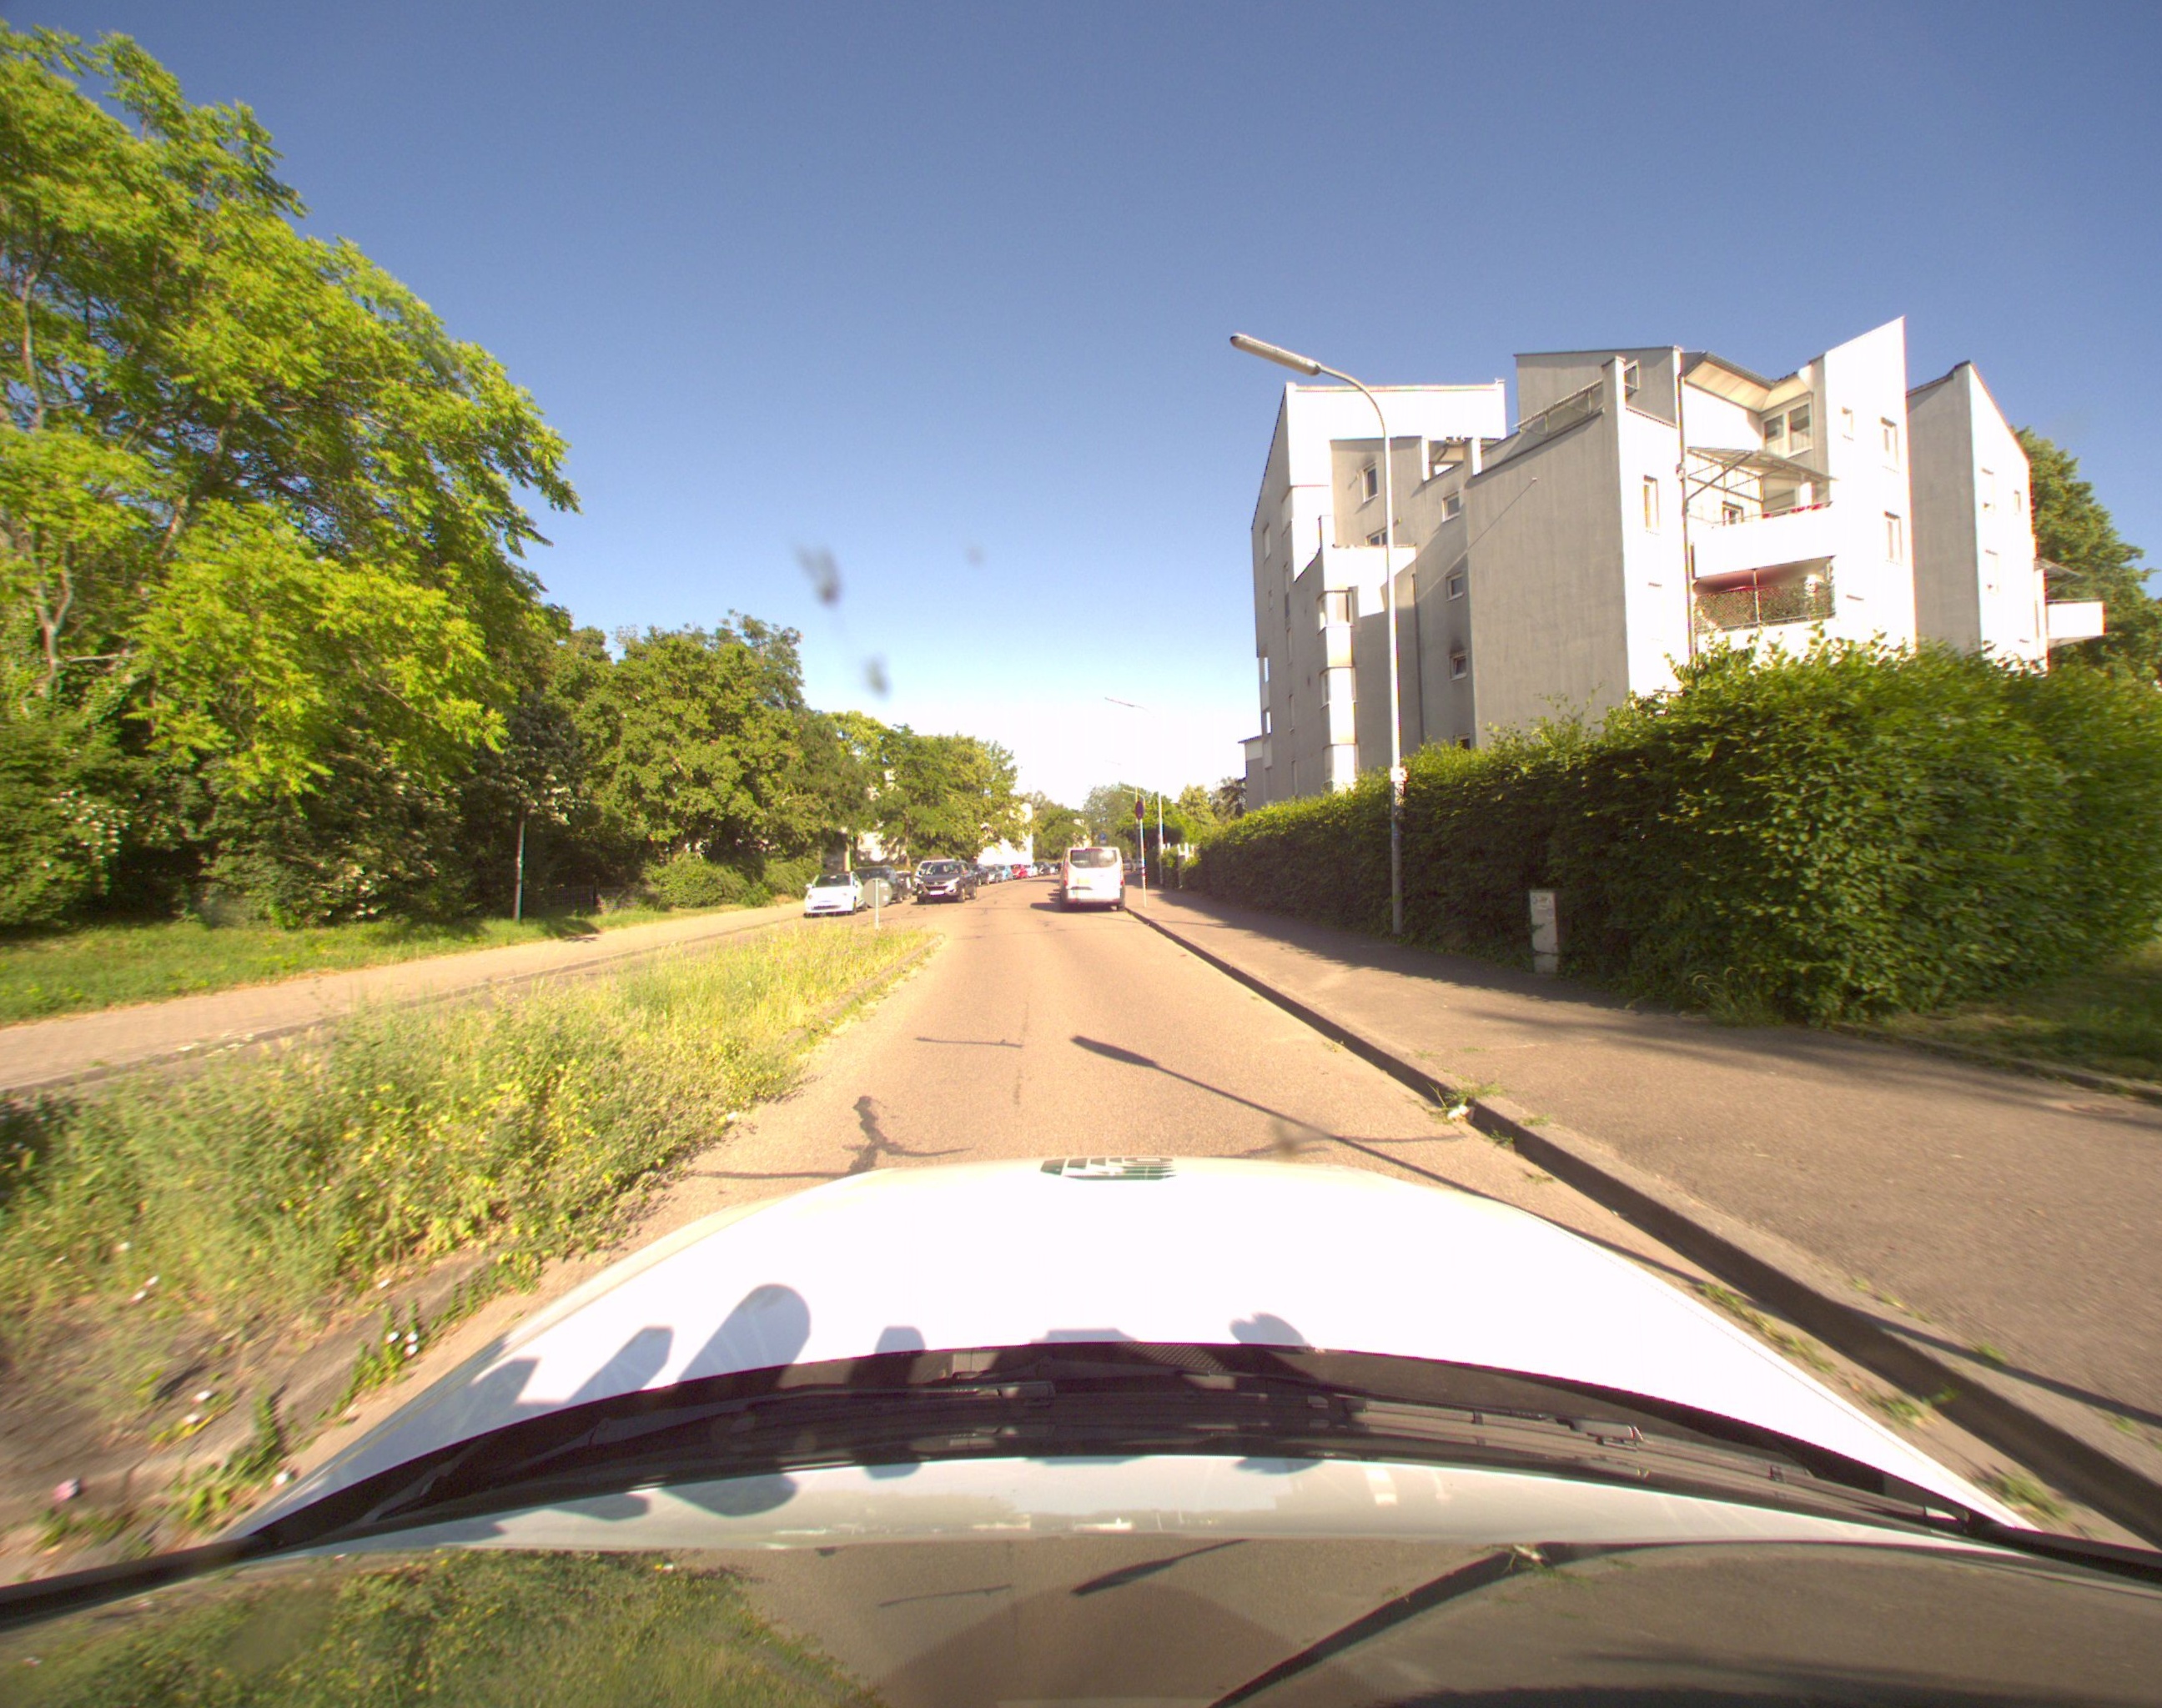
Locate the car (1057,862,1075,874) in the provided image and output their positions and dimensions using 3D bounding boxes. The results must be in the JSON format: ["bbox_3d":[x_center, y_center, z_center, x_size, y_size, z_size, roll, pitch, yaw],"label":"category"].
[{"bbox_3d":[-1.793,1.707,100.560,1.652,1.426,4.056,-4,-1,6],"label":"car"}]

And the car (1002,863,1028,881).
[{"bbox_3d":[-6.190,1.668,76.634,1.662,1.474,3.684,-3,-1,6],"label":"car"}]

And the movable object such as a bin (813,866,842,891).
[{"bbox_3d":[-14.475,1.391,46.541,1.272,1.401,1.261,-2,-1,-2],"label":"movable object such as a bin"}]

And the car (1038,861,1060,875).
[{"bbox_3d":[-3.685,1.588,95.345,1.650,1.486,4.064,-4,-1,10],"label":"car"}]

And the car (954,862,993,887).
[{"bbox_3d":[-7.543,1.402,57.599,1.739,1.617,4.369,-2,0,6],"label":"car"}]

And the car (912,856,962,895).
[{"bbox_3d":[-8.013,1.160,45.654,1.857,1.961,4.670,-2,0,0],"label":"car"}]

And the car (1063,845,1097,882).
[{"bbox_3d":[-0.002,0.657,57.187,2.096,2.486,5.859,-1,-1,2],"label":"car"}]

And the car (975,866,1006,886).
[{"bbox_3d":[-7.116,1.694,64.481,1.663,1.437,4.004,-3,-1,4],"label":"car"}]

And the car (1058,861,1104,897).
[{"bbox_3d":[0.007,1.094,36.889,1.904,1.488,4.373,-2,-1,0],"label":"car"}]

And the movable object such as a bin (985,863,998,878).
[{"bbox_3d":[-9.064,1.646,82.672,0.983,1.418,1.316,-2,0,4],"label":"movable object such as a bin"}]

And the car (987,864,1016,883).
[{"bbox_3d":[-6.776,1.644,69.915,1.662,1.474,3.684,-3,-1,6],"label":"car"}]

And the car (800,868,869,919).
[{"bbox_3d":[-8.408,1.310,28.040,1.624,1.527,3.411,-2,0,-7],"label":"car"}]

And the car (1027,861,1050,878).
[{"bbox_3d":[-4.603,1.647,88.888,1.661,1.666,4.416,-3,-1,8],"label":"car"}]

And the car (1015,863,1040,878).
[{"bbox_3d":[-5.412,1.660,82.235,1.661,1.421,3.910,-3,-1,8],"label":"car"}]

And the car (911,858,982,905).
[{"bbox_3d":[-5.383,1.053,33.167,1.905,1.705,4.189,-3,0,3],"label":"car"}]

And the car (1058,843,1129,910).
[{"bbox_3d":[0.307,0.692,26.379,1.988,1.912,4.949,-2,-1,-2],"label":"car"}]

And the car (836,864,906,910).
[{"bbox_3d":[-8.418,1.273,33.035,1.670,1.638,4.249,-3,0,-1],"label":"car"}]
